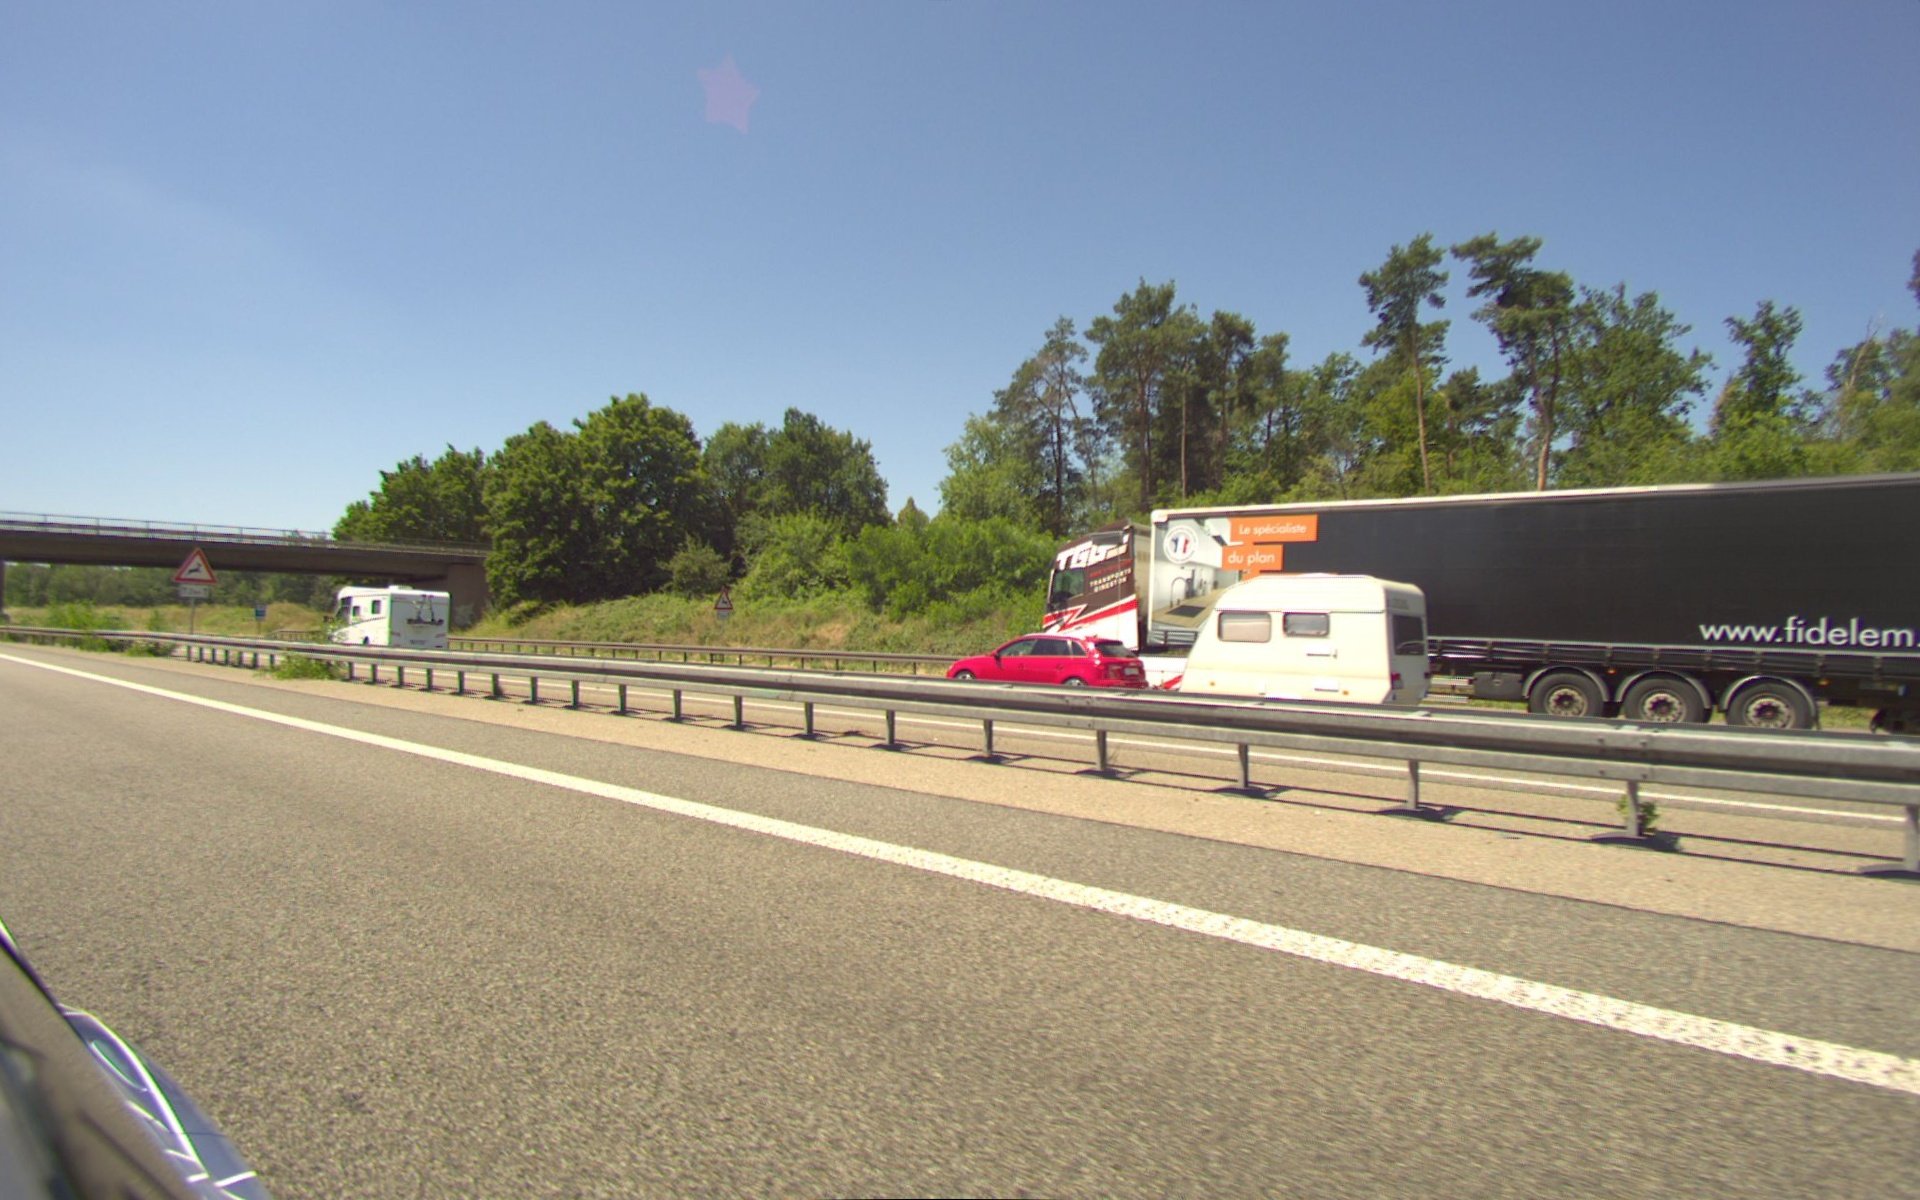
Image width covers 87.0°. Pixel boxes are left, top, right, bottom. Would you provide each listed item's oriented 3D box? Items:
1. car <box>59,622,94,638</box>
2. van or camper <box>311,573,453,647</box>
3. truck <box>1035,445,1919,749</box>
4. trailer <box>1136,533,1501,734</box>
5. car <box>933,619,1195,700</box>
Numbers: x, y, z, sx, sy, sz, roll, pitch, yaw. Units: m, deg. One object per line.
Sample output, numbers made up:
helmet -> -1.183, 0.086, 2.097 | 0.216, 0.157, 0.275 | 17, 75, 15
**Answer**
car -> -98.718, 3.375, 113.046 | 5.056, 1.623, 2.205 | -1, -4, 40
van or camper -> -24.372, 0.453, 42.467 | 8.557, 2.832, 2.475 | 0, -2, 41
truck -> 9.144, 0.039, 18.698 | 16.858, 4.026, 3.291 | 0, -2, 41
trailer -> 5.733, 0.550, 16.507 | 5.071, 2.769, 2.451 | -1, -4, 40
car -> 1.951, 1.120, 19.812 | 4.688, 1.390, 2.205 | -1, -4, 40
